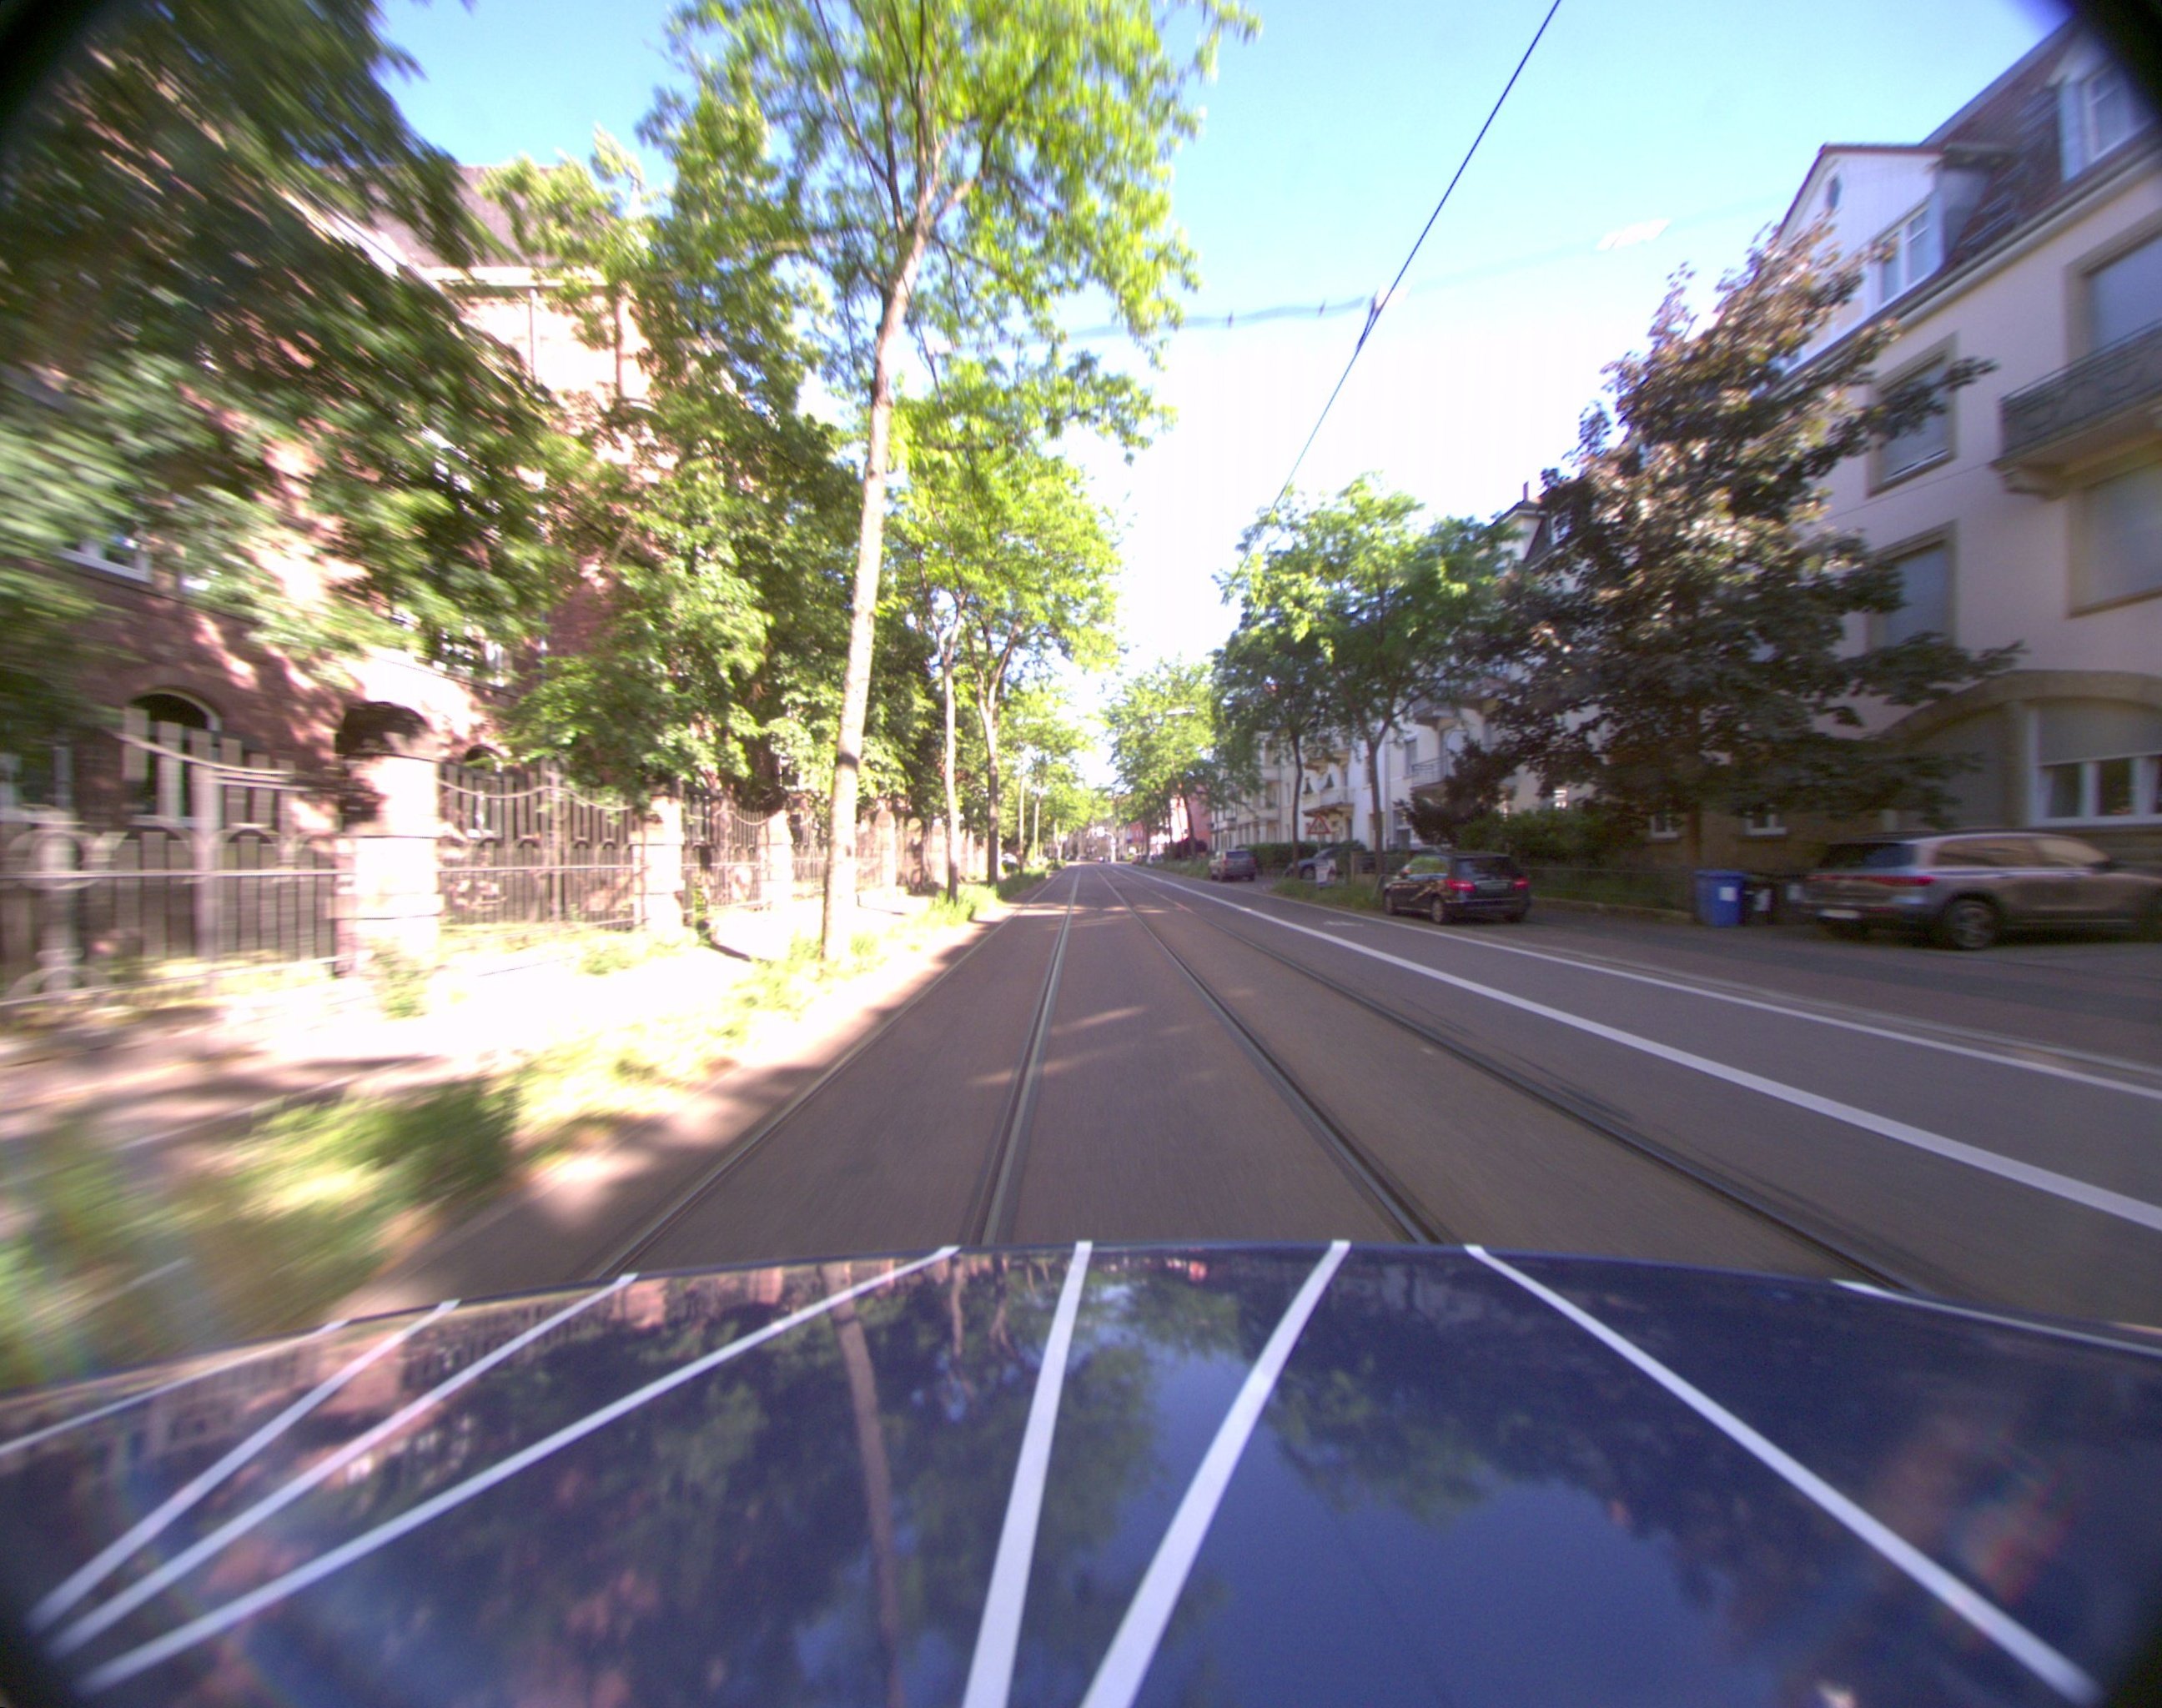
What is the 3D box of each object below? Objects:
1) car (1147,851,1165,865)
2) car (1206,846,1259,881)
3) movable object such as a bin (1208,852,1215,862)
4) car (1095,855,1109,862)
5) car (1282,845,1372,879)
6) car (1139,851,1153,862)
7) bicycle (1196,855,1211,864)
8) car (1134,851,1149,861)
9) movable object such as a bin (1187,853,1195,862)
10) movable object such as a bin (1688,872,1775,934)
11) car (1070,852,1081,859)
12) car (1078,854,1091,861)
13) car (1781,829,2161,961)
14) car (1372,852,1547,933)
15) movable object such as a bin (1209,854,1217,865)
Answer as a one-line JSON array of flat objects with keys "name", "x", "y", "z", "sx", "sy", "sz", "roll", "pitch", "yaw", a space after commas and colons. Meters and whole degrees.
[{"name": "car", "x": 9.001, "y": 0.478, "z": 91.082, "sx": 1.629, "sy": 1.526, "sz": 3.689, "roll": -2, "pitch": 0, "yaw": -1}, {"name": "car", "x": 8.527, "y": 0.523, "z": 43.070, "sx": 1.875, "sy": 1.812, "sz": 4.770, "roll": -2, "pitch": 0, "yaw": -2}, {"name": "movable object such as a bin", "x": 15.317, "y": 0.322, "z": 89.070, "sx": 0.739, "sy": 1.107, "sz": 0.895, "roll": -1, "pitch": 1, "yaw": 0}, {"name": "car", "x": 4.216, "y": 0.890, "z": 152.890, "sx": 1.880, "sy": 1.390, "sz": 3.996, "roll": -4, "pitch": 0, "yaw": -11}, {"name": "car", "x": 13.508, "y": 0.403, "z": 41.917, "sx": 4.311, "sy": 1.651, "sz": 1.953, "roll": -3, "pitch": 0, "yaw": 2}, {"name": "car", "x": 8.851, "y": 0.328, "z": 103.091, "sx": 1.558, "sy": 1.446, "sz": 3.667, "roll": -2, "pitch": 0, "yaw": 0}, {"name": "bicycle", "x": 13.108, "y": 0.609, "z": 81.551, "sx": 1.866, "sy": 0.991, "sz": 0.557, "roll": -1, "pitch": 1, "yaw": -43}, {"name": "car", "x": 8.893, "y": 0.287, "z": 112.112, "sx": 1.577, "sy": 1.446, "sz": 4.095, "roll": -2, "pitch": 0, "yaw": -3}, {"name": "movable object such as a bin", "x": 12.872, "y": 0.432, "z": 89.072, "sx": 0.739, "sy": 1.035, "sz": 0.895, "roll": -1, "pitch": 1, "yaw": 0}, {"name": "movable object such as a bin", "x": 11.825, "y": 0.881, "z": 13.836, "sx": 0.877, "sy": 1.060, "sz": 0.814, "roll": -1, "pitch": 1, "yaw": 1}, {"name": "car", "x": -1.299, "y": 0.357, "z": 172.437, "sx": 1.880, "sy": 1.390, "sz": 3.996, "roll": -4, "pitch": 0, "yaw": -11}, {"name": "car", "x": 0.730, "y": 0.798, "z": 164.561, "sx": 1.880, "sy": 1.390, "sz": 3.996, "roll": -4, "pitch": 0, "yaw": -11}, {"name": "car", "x": 13.342, "y": 0.536, "z": 11.239, "sx": 4.177, "sy": 1.649, "sz": 1.983, "roll": -2, "pitch": 1, "yaw": -1}, {"name": "car", "x": 8.429, "y": 0.766, "z": 17.448, "sx": 1.781, "sy": 1.532, "sz": 4.485, "roll": -2, "pitch": 0, "yaw": 0}, {"name": "movable object such as a bin", "x": 12.109, "y": 0.511, "z": 69.689, "sx": 0.629, "sy": 0.916, "sz": 0.740, "roll": -2, "pitch": 1, "yaw": 1}]
